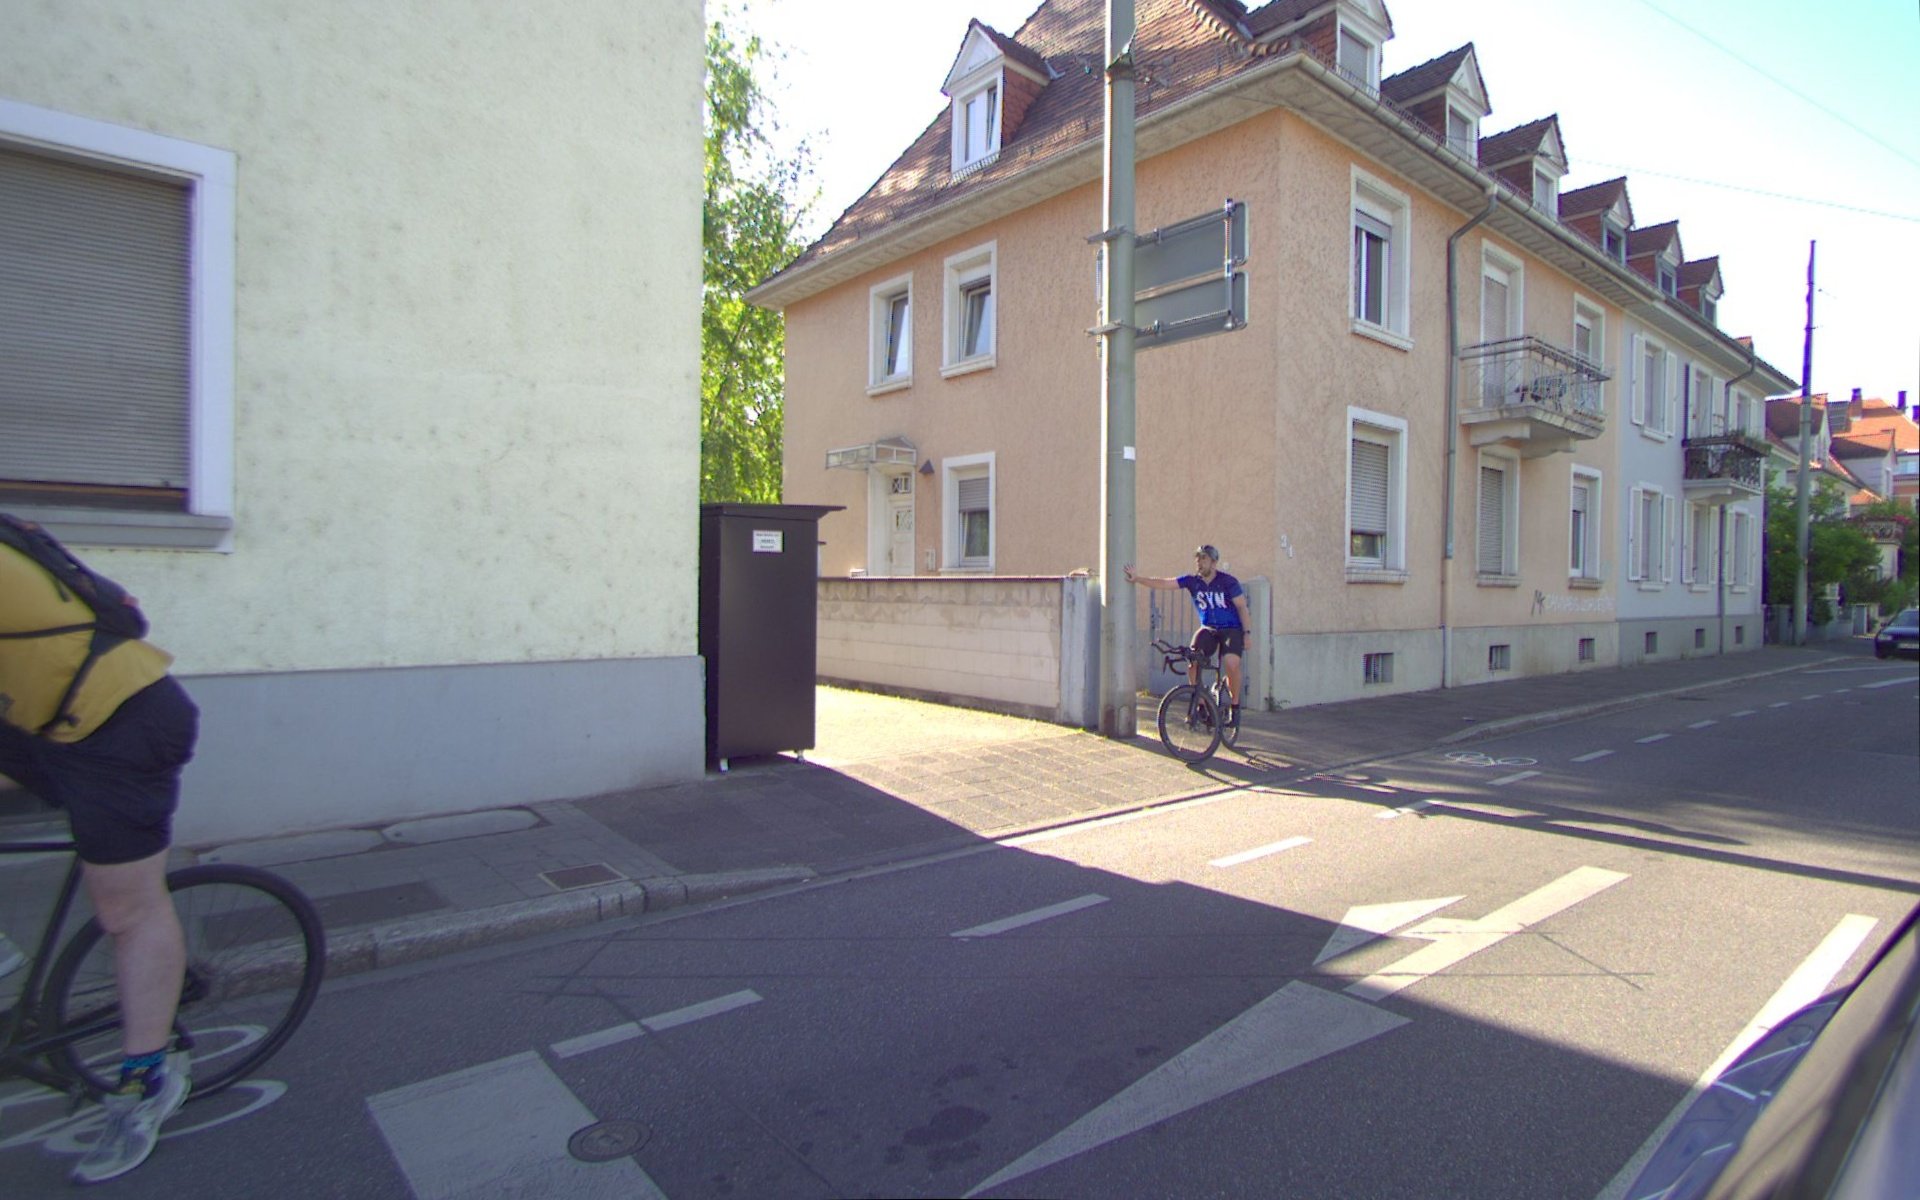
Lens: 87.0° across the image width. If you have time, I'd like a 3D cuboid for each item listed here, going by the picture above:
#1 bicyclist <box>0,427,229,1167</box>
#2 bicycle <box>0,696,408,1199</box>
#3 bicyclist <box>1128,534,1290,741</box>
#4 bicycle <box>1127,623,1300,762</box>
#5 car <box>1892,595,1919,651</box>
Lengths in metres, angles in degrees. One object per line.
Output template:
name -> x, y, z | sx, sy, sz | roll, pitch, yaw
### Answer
bicyclist -> -2.471, 0.460, 2.576 | 0.939, 1.743, 0.582 | 0, 0, -41
bicycle -> -2.465, 0.882, 2.575 | 1.778, 1.101, 0.611 | 0, 1, -41
bicyclist -> 2.322, 0.304, 9.506 | 0.838, 1.758, 1.072 | 0, 6, -40
bicycle -> 2.332, 0.789, 9.210 | 1.689, 1.064, 0.595 | 0, 6, -41
car -> 26.642, 0.606, 27.324 | 3.932, 1.438, 1.845 | 0, 1, -42
